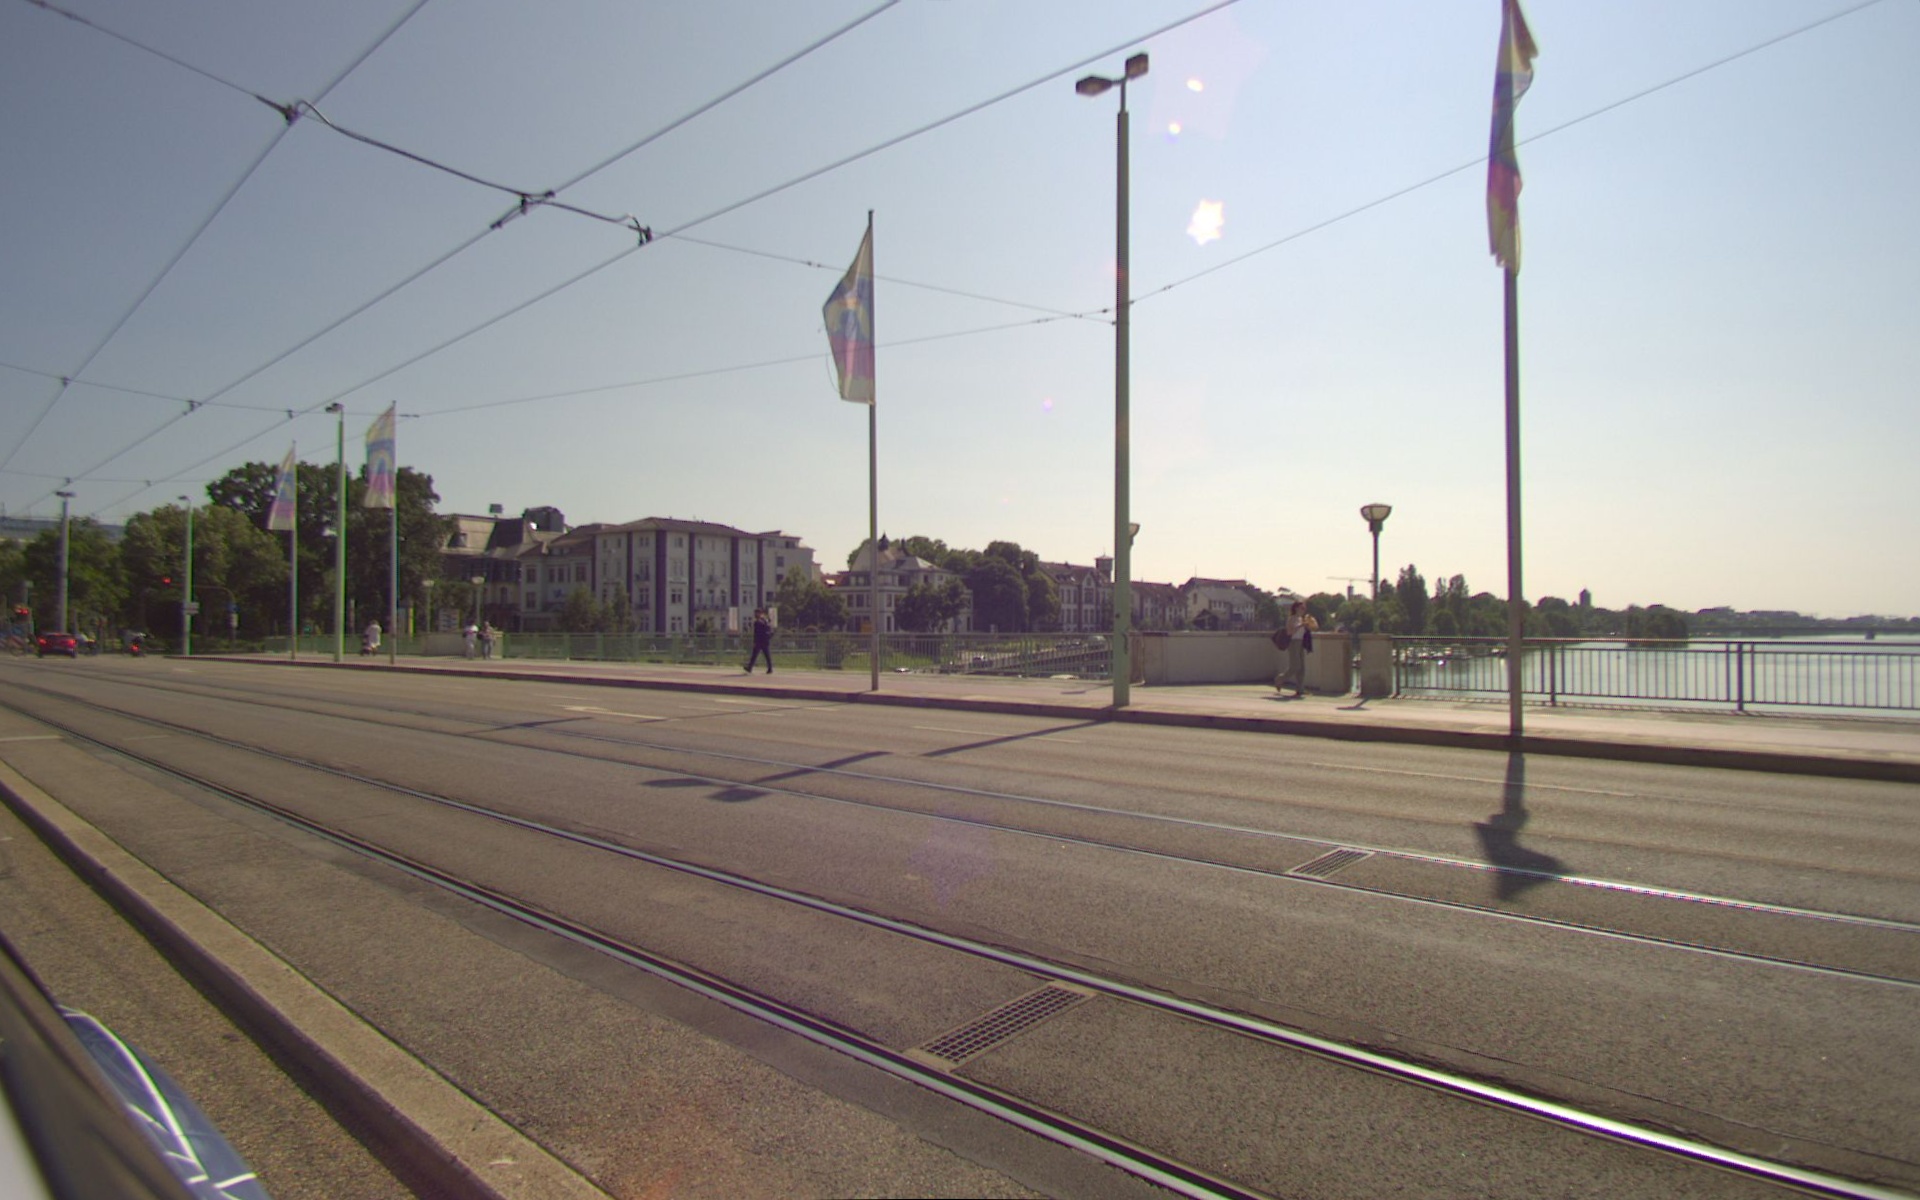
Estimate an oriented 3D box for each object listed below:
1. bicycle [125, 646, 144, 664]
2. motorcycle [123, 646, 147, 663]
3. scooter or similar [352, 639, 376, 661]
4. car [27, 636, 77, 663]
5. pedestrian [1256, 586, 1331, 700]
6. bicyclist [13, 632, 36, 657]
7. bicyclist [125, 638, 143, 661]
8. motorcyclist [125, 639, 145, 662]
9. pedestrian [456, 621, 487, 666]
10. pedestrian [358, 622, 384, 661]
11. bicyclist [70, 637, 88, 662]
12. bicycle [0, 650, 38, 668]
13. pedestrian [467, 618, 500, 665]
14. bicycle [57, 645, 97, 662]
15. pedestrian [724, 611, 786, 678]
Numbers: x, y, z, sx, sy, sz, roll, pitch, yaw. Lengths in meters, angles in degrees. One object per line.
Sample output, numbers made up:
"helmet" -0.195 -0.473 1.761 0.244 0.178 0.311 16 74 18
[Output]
"bicycle" -57.178 3.803 70.071 1.920 1.122 0.750 -4 -2 43
"motorcycle" -52.583 3.493 64.523 1.950 1.033 0.836 -2 -1 40
"scooter or similar" -29.402 2.447 49.936 0.831 1.037 0.731 -2 1 38
"car" -54.669 2.951 60.882 4.191 1.526 1.971 -2 -2 44
"pedestrian" 6.154 0.779 18.683 1.041 2.029 0.890 -2 -2 38
"bicyclist" -61.827 2.915 66.855 0.864 1.621 0.774 1 -2 -21
"bicyclist" -57.175 3.429 70.055 0.772 1.621 0.867 -4 -5 43
"motorcyclist" -52.720 3.242 64.675 0.897 1.412 0.836 -2 -1 38
"pedestrian" -19.933 1.774 41.271 0.956 1.798 0.731 -2 1 38
"pedestrian" -28.715 2.027 49.359 0.974 1.867 0.731 -2 1 38
"bicyclist" -58.659 3.284 67.372 0.759 1.621 0.882 1 -2 -32
"bicycle" -62.155 3.868 66.704 1.887 1.122 0.764 0 -2 -22
"pedestrian" -19.704 1.709 41.834 1.120 1.863 0.731 -2 1 39
"bicycle" -58.734 3.543 67.327 1.887 1.122 0.763 1 -2 -32
"pedestrian" -5.632 1.212 27.782 1.293 1.772 1.086 -2 -2 38
